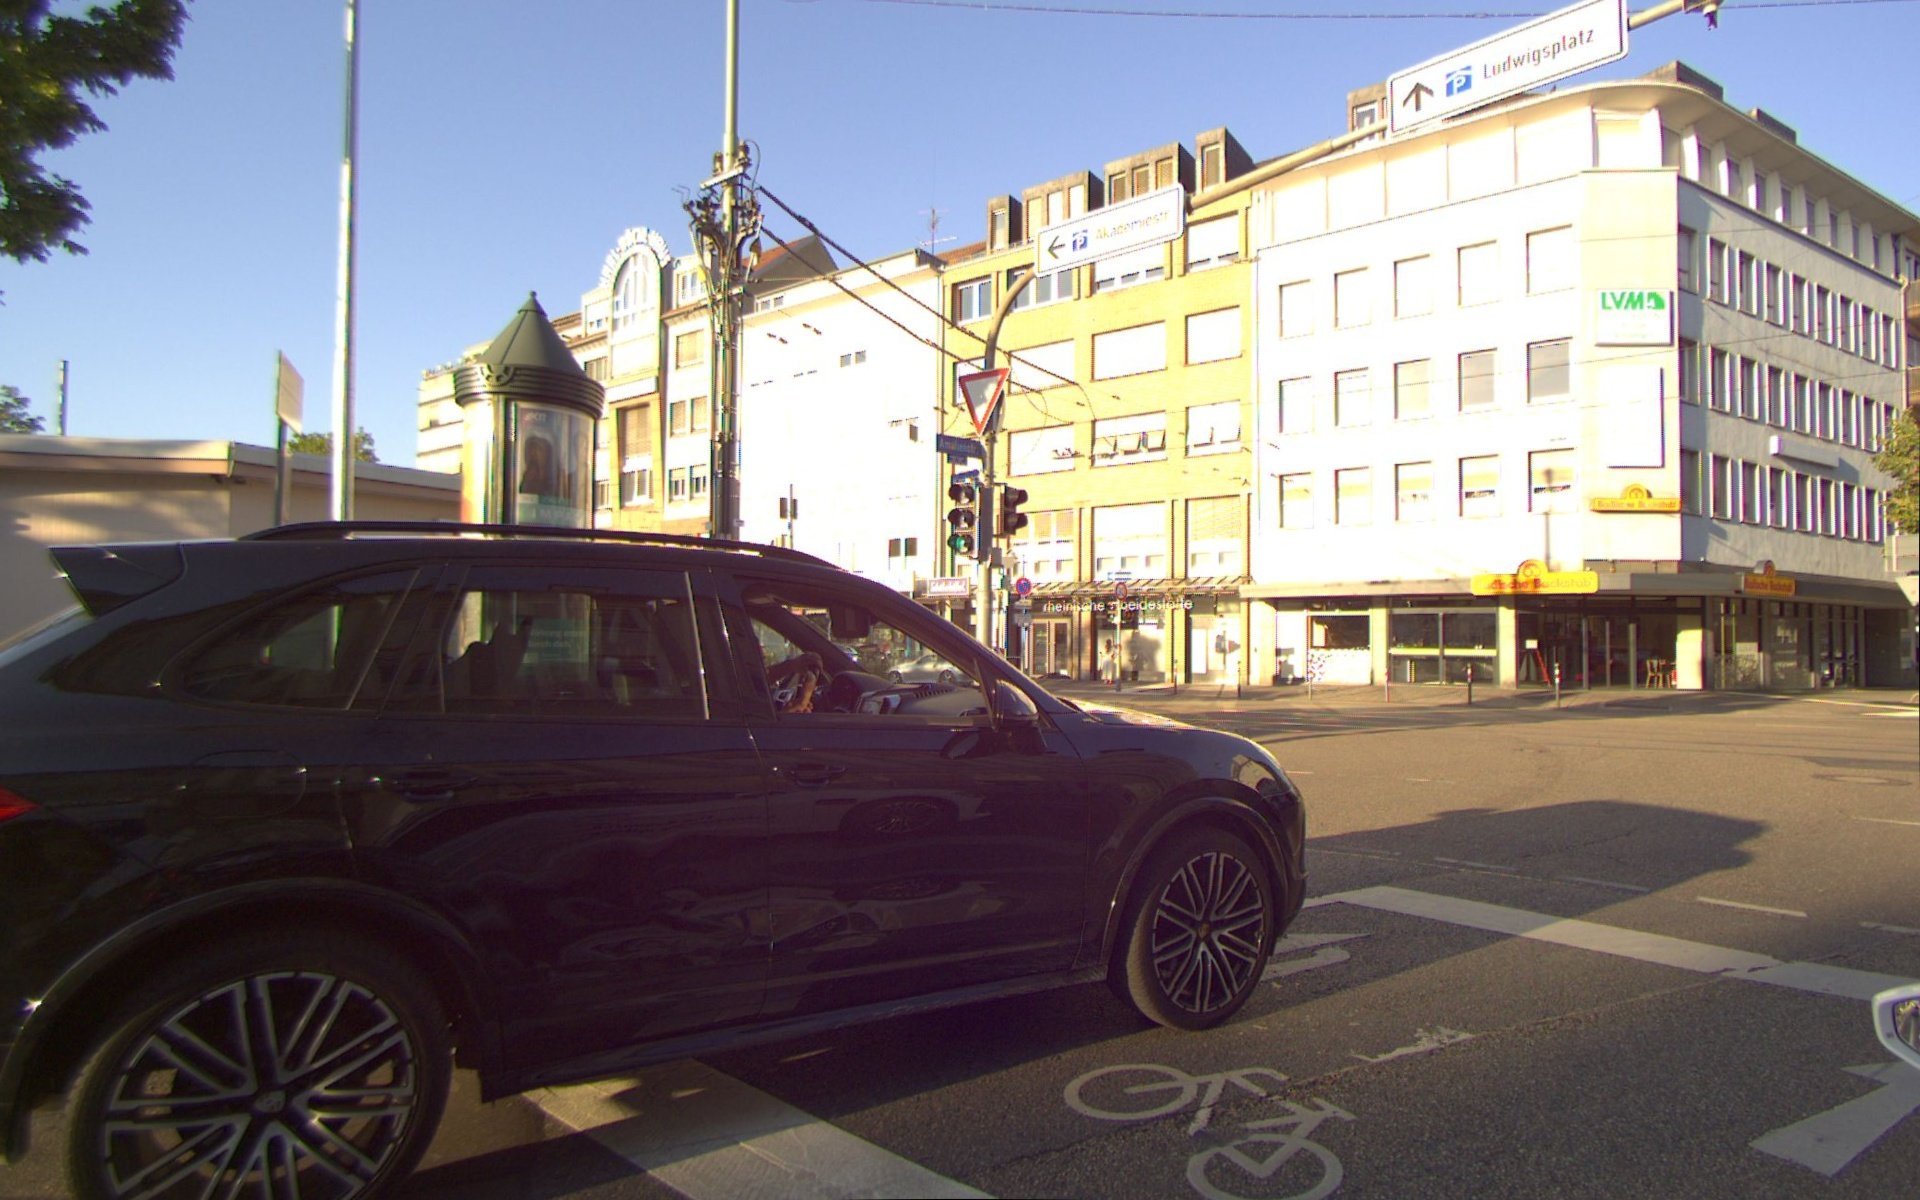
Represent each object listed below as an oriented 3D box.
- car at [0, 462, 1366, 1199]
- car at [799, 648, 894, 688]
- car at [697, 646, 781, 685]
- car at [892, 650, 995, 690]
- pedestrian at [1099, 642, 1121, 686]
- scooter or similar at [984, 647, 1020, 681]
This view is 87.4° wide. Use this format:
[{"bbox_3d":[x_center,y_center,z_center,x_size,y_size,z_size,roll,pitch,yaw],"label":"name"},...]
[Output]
[{"bbox_3d":[-0.762,0.667,3.633,4.516,1.720,1.792,2,-2,-31],"label":"car"},{"bbox_3d":[-4.297,2.558,37.903,3.335,1.371,1.631,-2,-1,37],"label":"car"},{"bbox_3d":[-9.245,2.715,41.899,3.335,1.483,1.631,-2,-1,37],"label":"car"},{"bbox_3d":[-0.605,2.439,35.418,3.335,1.270,1.631,-2,-1,37],"label":"car"},{"bbox_3d":[5.211,2.209,34.968,0.613,1.491,0.544,-2,0,21],"label":"pedestrian"},{"bbox_3d":[1.609,2.439,38.660,1.444,1.275,0.394,-2,-2,38],"label":"scooter or similar"}]
